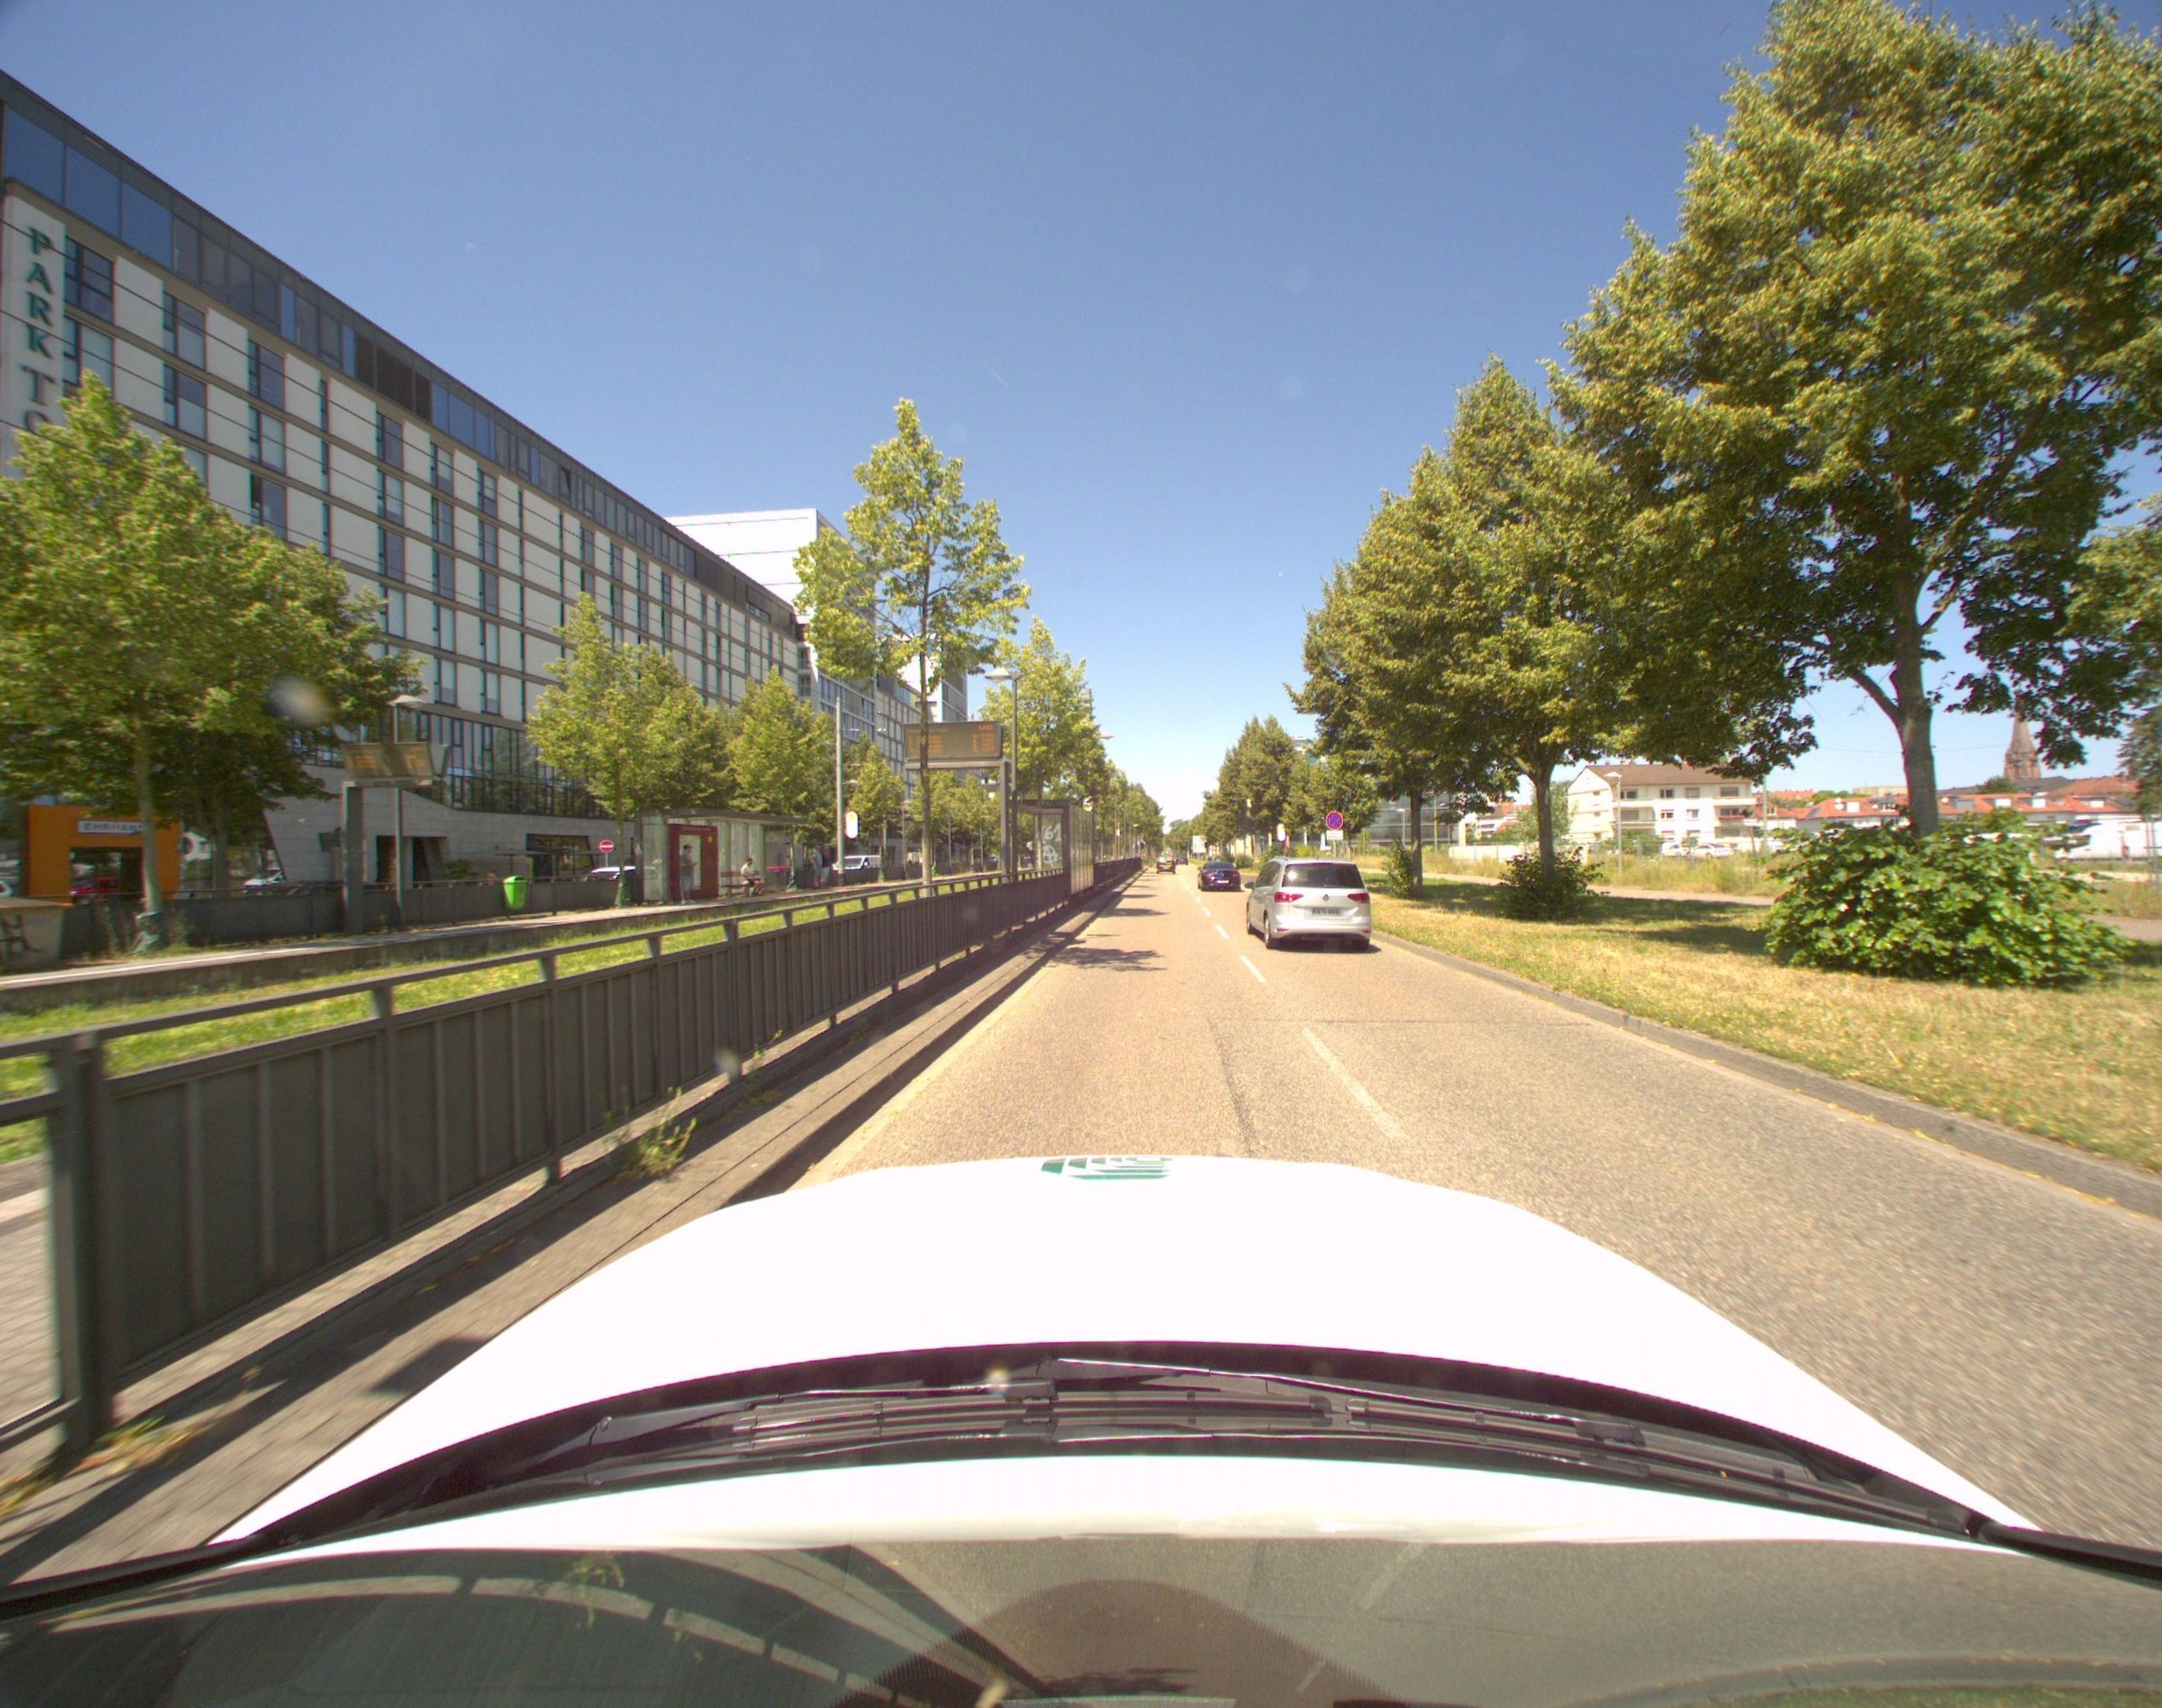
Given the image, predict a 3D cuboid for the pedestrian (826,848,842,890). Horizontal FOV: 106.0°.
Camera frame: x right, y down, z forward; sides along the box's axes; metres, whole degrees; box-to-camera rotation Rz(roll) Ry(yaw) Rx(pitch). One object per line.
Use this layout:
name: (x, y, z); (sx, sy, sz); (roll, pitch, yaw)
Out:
pedestrian: (-10.384, 0.622, 34.255); (0.408, 1.752, 0.586); (-1, -1, 3)

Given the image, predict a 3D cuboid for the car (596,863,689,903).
car: (-18.926, 1.210, 35.355); (1.562, 1.616, 3.969); (-1, -1, 7)

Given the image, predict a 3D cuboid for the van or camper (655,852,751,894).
van or camper: (-23.098, 1.135, 50.222); (2.166, 2.386, 6.783); (-1, 0, 6)

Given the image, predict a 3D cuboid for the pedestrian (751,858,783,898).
pedestrian: (-11.186, 0.843, 29.023); (0.830, 1.413, 0.643); (-1, -1, 5)

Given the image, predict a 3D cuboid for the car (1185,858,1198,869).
car: (16.572, 1.375, 122.586); (1.757, 1.627, 3.720); (-1, -1, 5)

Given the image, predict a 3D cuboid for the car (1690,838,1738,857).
car: (59.405, -0.561, 76.508); (1.669, 1.586, 3.622); (-2, -2, 1)

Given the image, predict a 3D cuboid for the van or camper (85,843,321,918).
van or camper: (-36.753, 1.053, 34.536); (2.365, 2.822, 6.793); (-1, -1, 4)

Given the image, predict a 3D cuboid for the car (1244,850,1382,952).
car: (4.291, 0.783, 15.769); (1.792, 1.649, 4.612); (1, 0, 6)

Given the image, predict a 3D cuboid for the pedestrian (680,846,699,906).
pedestrian: (-11.567, 0.635, 24.057); (0.467, 1.739, 0.474); (-1, -1, -23)

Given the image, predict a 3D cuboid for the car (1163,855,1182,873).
car: (7.858, 0.895, 70.078); (1.610, 1.451, 3.992); (-1, -1, 6)

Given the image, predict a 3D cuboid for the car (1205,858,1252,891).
car: (6.834, 0.939, 38.240); (1.842, 1.436, 4.964); (-1, -1, 7)

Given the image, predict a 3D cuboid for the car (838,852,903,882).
car: (-13.540, 0.808, 52.763); (2.450, 1.806, 5.078); (-1, -1, 6)

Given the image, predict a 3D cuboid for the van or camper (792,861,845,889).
van or camper: (-14.308, 1.116, 44.558); (1.468, 1.427, 3.434); (-1, 0, 6)

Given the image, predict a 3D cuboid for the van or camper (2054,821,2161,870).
van or camper: (58.656, -0.454, 44.916); (1.915, 2.602, 7.010); (-1, 0, 4)

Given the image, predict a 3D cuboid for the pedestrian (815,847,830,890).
pedestrian: (-10.660, 0.605, 33.597); (0.408, 1.752, 0.586); (-1, -1, 3)
